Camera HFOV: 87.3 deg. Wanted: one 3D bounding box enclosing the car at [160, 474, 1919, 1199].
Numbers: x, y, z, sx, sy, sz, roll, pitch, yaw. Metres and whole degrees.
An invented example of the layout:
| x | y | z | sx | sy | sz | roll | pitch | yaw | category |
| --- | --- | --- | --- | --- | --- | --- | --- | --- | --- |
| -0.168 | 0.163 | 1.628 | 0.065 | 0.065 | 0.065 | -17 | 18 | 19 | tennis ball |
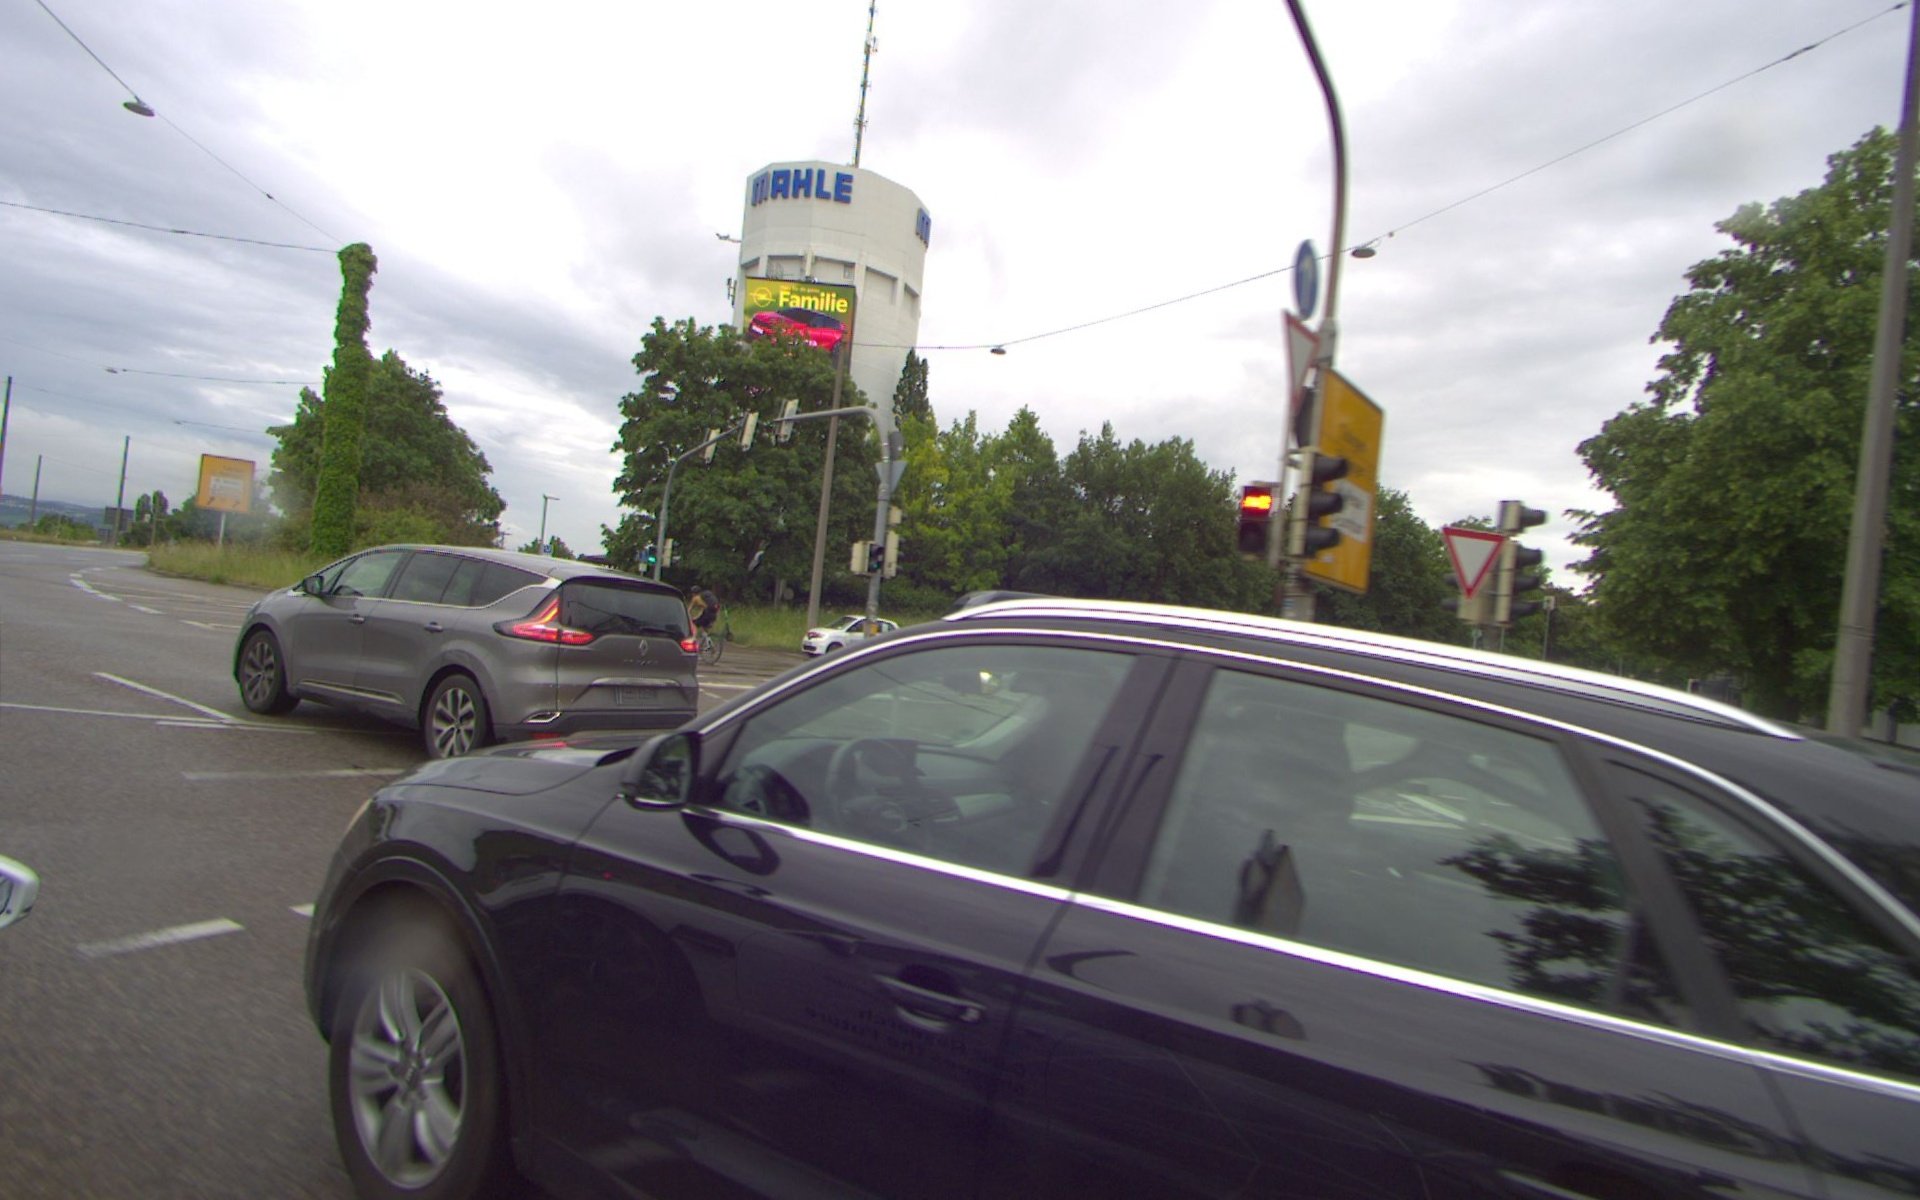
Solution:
| x | y | z | sx | sy | sz | roll | pitch | yaw | category |
| --- | --- | --- | --- | --- | --- | --- | --- | --- | --- |
| 0.144 | 0.735 | 2.490 | 4.045 | 1.613 | 1.889 | 6 | -3 | 31 | car |

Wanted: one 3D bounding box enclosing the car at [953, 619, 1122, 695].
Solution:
| x | y | z | sx | sy | sz | roll | pitch | yaw | category |
| --- | --- | --- | --- | --- | --- | --- | --- | --- | --- |
| 2.038 | 1.490 | 26.020 | 4.023 | 1.586 | 1.856 | 7 | -3 | -35 | car |

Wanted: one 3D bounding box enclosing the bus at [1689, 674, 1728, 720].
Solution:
| x | y | z | sx | sy | sz | roll | pitch | yaw | category |
| --- | --- | --- | --- | --- | --- | --- | --- | --- | --- |
| 65.433 | 8.488 | 87.874 | 2.303 | 3.605 | 6.474 | 6 | -1 | 38 | bus |

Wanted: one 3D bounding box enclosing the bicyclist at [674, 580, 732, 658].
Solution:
| x | y | z | sx | sy | sz | roll | pitch | yaw | category |
| --- | --- | --- | --- | --- | --- | --- | --- | --- | --- |
| -5.692 | 0.407 | 22.244 | 0.803 | 1.601 | 1.015 | 9 | -3 | -30 | bicyclist |

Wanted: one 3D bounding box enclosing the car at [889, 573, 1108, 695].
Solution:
| x | y | z | sx | sy | sz | roll | pitch | yaw | category |
| --- | --- | --- | --- | --- | --- | --- | --- | --- | --- |
| 1.187 | 1.033 | 28.999 | 5.969 | 2.771 | 2.066 | 8 | -3 | -32 | car |

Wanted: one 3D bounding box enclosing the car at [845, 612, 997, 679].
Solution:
| x | y | z | sx | sy | sz | roll | pitch | yaw | category |
| --- | --- | --- | --- | --- | --- | --- | --- | --- | --- |
| -1.166 | 1.424 | 31.098 | 4.342 | 1.537 | 1.714 | 9 | -3 | -35 | car |

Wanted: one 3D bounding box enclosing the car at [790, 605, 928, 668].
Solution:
| x | y | z | sx | sy | sz | roll | pitch | yaw | category |
| --- | --- | --- | --- | --- | --- | --- | --- | --- | --- |
| -3.335 | 1.239 | 33.586 | 4.111 | 1.582 | 1.853 | 9 | -3 | -37 | car |

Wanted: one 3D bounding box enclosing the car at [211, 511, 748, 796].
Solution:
| x | y | z | sx | sy | sz | roll | pitch | yaw | category |
| --- | --- | --- | --- | --- | --- | --- | --- | --- | --- |
| -4.224 | 0.345 | 8.648 | 4.489 | 1.694 | 1.869 | 6 | -2 | 31 | car |

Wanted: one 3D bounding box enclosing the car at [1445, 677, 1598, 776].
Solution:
| x | y | z | sx | sy | sz | roll | pitch | yaw | category |
| --- | --- | --- | --- | --- | --- | --- | --- | --- | --- |
| 11.172 | 2.442 | 20.323 | 1.836 | 1.516 | 4.152 | 4 | -1 | 19 | car |
